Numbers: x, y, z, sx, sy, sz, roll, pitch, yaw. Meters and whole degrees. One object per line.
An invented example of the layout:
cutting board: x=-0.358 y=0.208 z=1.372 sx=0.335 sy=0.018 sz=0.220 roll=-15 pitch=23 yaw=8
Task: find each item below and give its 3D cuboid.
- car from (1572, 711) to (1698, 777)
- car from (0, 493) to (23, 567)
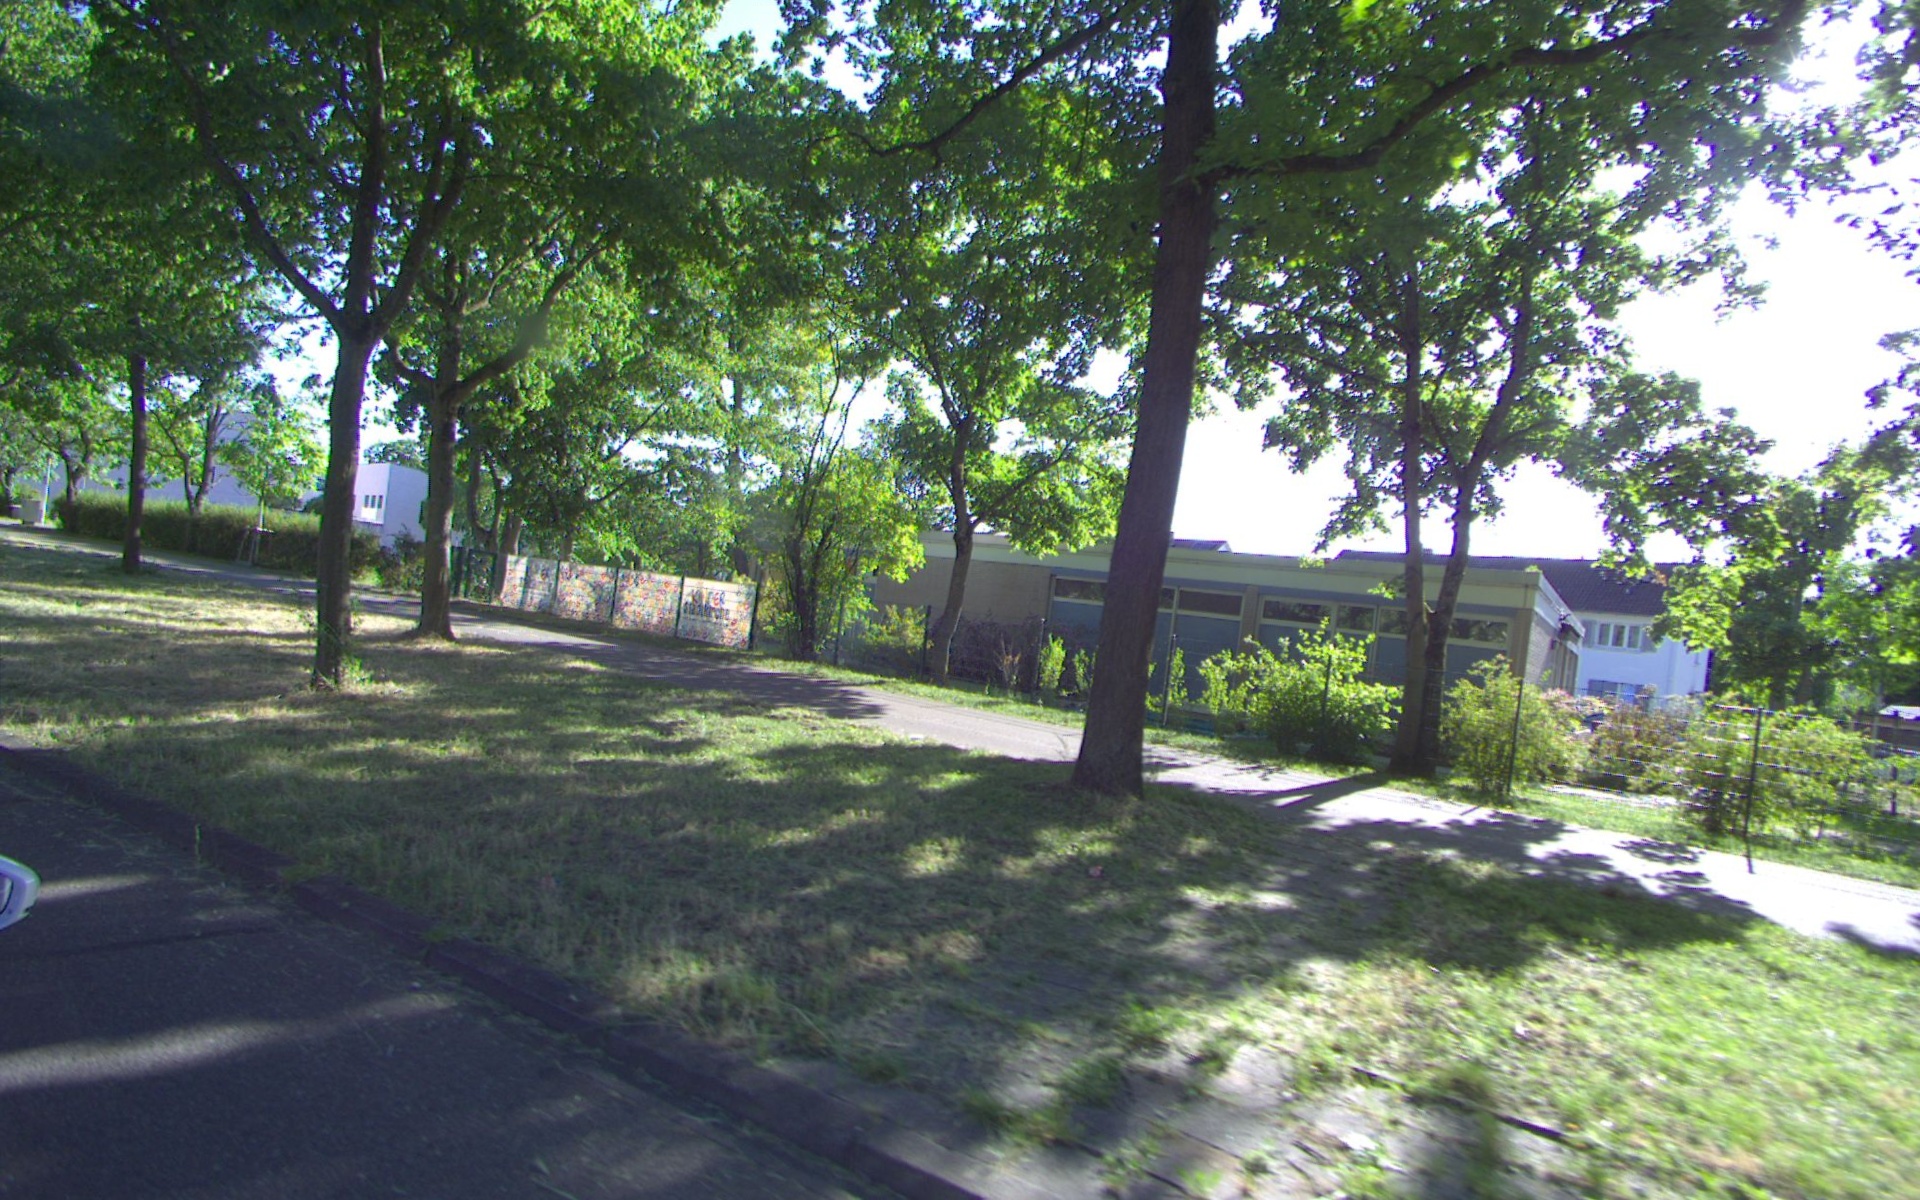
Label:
car: x=27.045 y=5.737 z=40.366 sx=3.940 sy=1.970 sz=1.994 roll=6 pitch=-2 yaw=38
car: x=-20.468 y=-1.582 z=18.796 sx=1.711 sy=1.420 sz=3.991 roll=7 pitch=0 yaw=33
